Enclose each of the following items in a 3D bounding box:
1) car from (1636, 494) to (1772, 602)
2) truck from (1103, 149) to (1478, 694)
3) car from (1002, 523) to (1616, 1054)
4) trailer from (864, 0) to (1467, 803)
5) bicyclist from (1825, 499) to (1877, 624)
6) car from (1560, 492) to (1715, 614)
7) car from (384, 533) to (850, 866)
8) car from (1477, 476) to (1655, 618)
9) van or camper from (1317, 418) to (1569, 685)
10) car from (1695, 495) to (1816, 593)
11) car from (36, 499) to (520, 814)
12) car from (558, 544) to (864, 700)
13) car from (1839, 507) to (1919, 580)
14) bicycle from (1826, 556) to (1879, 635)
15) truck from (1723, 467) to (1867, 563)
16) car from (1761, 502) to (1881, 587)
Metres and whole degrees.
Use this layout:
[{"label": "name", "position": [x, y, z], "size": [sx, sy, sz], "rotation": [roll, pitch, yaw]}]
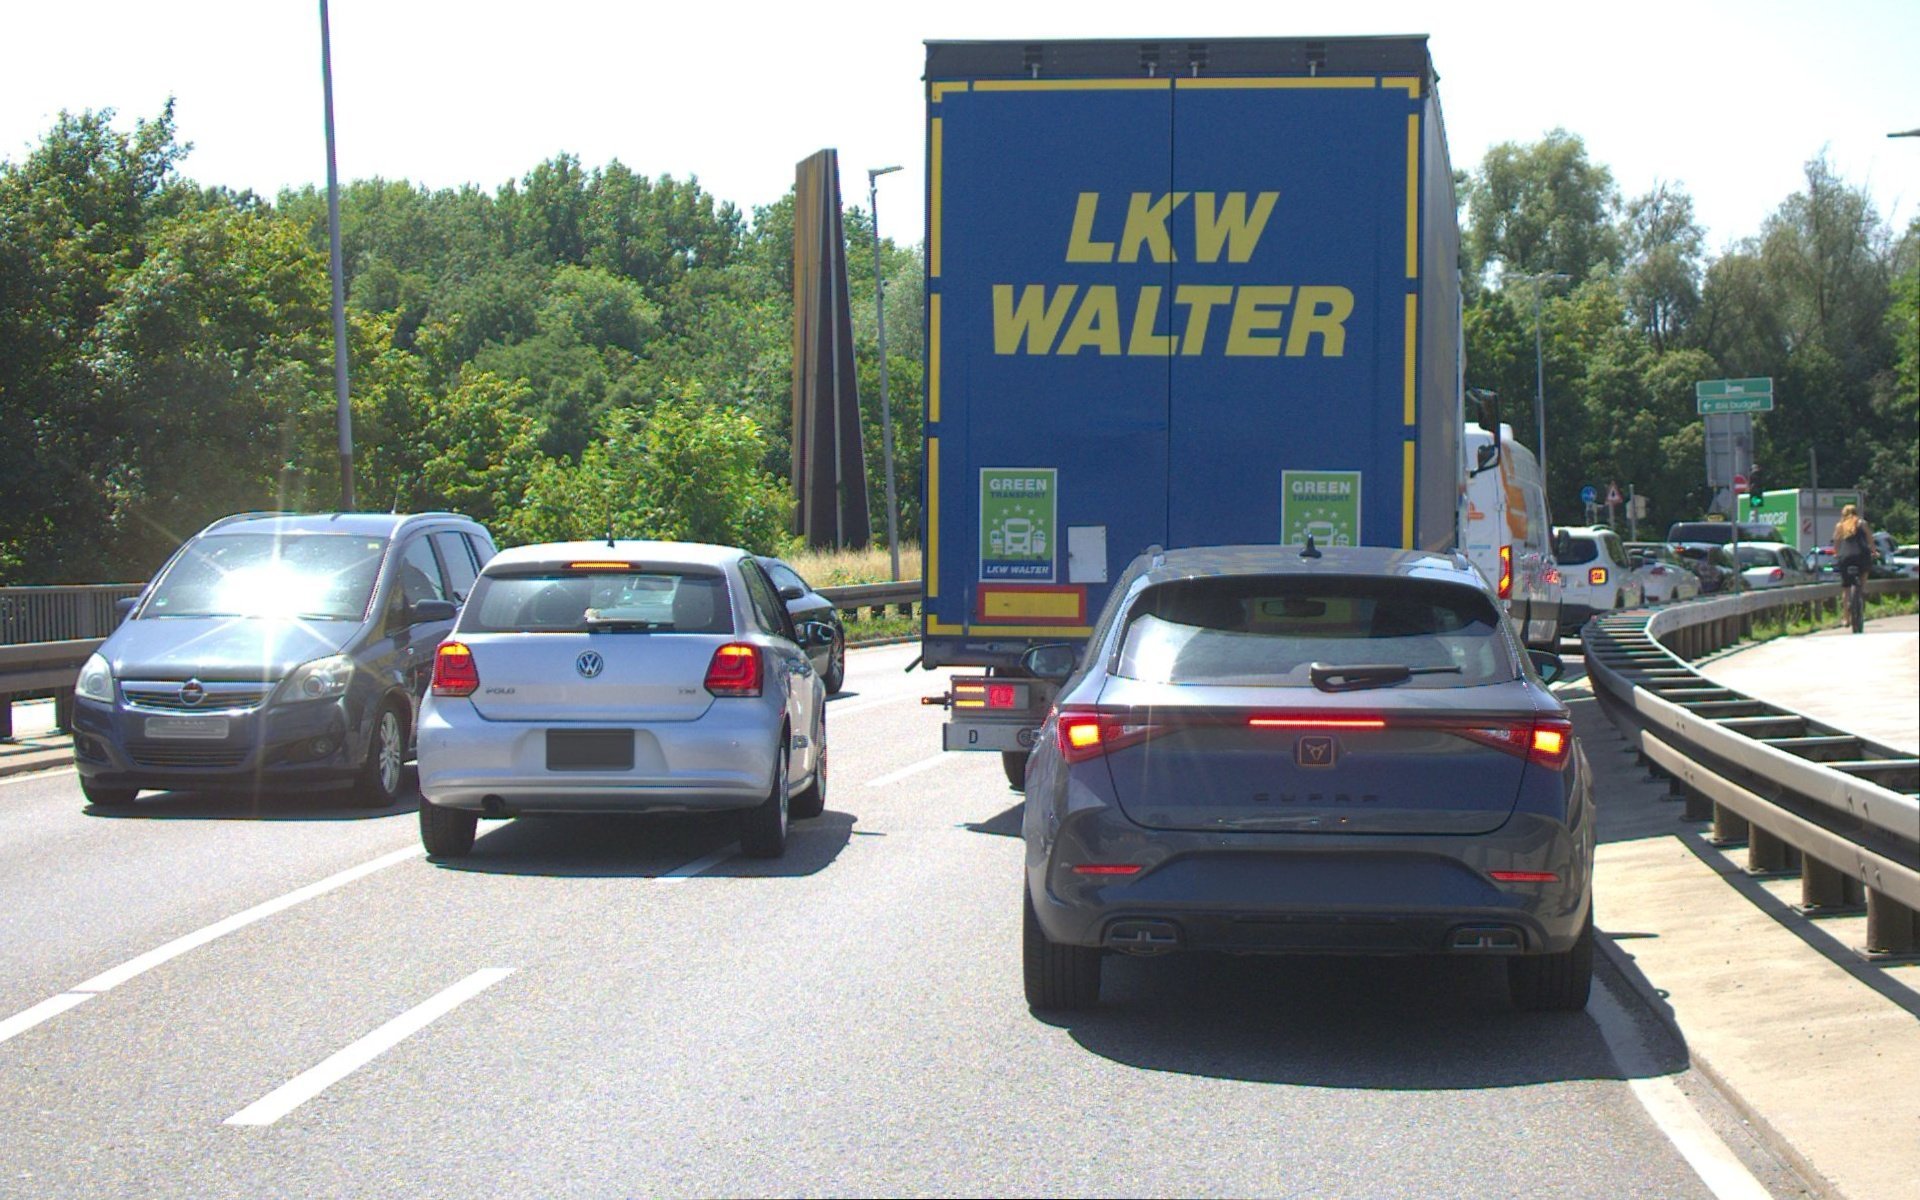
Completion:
[{"label": "car", "position": [13.161, -0.943, 60.693], "size": [1.723, 1.837, 3.996], "rotation": [1, 2, 21]}, {"label": "truck", "position": [3.170, -1.533, 31.299], "size": [2.905, 4.403, 6.553], "rotation": [1, 1, 10]}, {"label": "car", "position": [1.102, 0.472, 11.418], "size": [1.677, 1.451, 3.958], "rotation": [0, 1, 4]}, {"label": "trailer", "position": [1.912, -1.358, 23.410], "size": [2.905, 4.403, 12.429], "rotation": [1, 1, 9]}, {"label": "bicyclist", "position": [12.157, -0.528, 46.933], "size": [0.578, 1.677, 0.729], "rotation": [-3, 1, 12]}, {"label": "car", "position": [10.464, -0.754, 52.903], "size": [1.722, 1.796, 3.996], "rotation": [1, 2, 20]}, {"label": "car", "position": [-1.564, 0.394, 16.971], "size": [1.677, 1.406, 3.975], "rotation": [1, 2, 3]}, {"label": "car", "position": [8.244, -0.752, 46.525], "size": [1.722, 1.837, 3.996], "rotation": [0, 2, 20]}, {"label": "van or camper", "position": [5.641, -0.592, 39.419], "size": [2.155, 2.806, 6.383], "rotation": [0, 1, 14]}, {"label": "car", "position": [15.507, -1.114, 66.870], "size": [1.723, 1.837, 3.996], "rotation": [1, 2, 21]}, {"label": "car", "position": [-3.823, 0.245, 19.998], "size": [1.707, 1.620, 4.252], "rotation": [1, 1, 4]}, {"label": "car", "position": [-2.201, 0.155, 31.451], "size": [1.679, 1.304, 3.971], "rotation": [0, 1, 13]}, {"label": "car", "position": [21.872, -1.272, 79.540], "size": [1.997, 1.570, 3.993], "rotation": [2, 0, 29]}, {"label": "bicycle", "position": [12.184, -0.066, 46.953], "size": [0.582, 1.032, 1.484], "rotation": [-3, 1, 12]}, {"label": "truck", "position": [25.752, -2.632, 106.277], "size": [2.334, 2.864, 5.943], "rotation": [0, 1, -7]}, {"label": "car", "position": [18.402, -1.178, 73.360], "size": [1.688, 1.754, 3.994], "rotation": [1, 1, 26]}]
